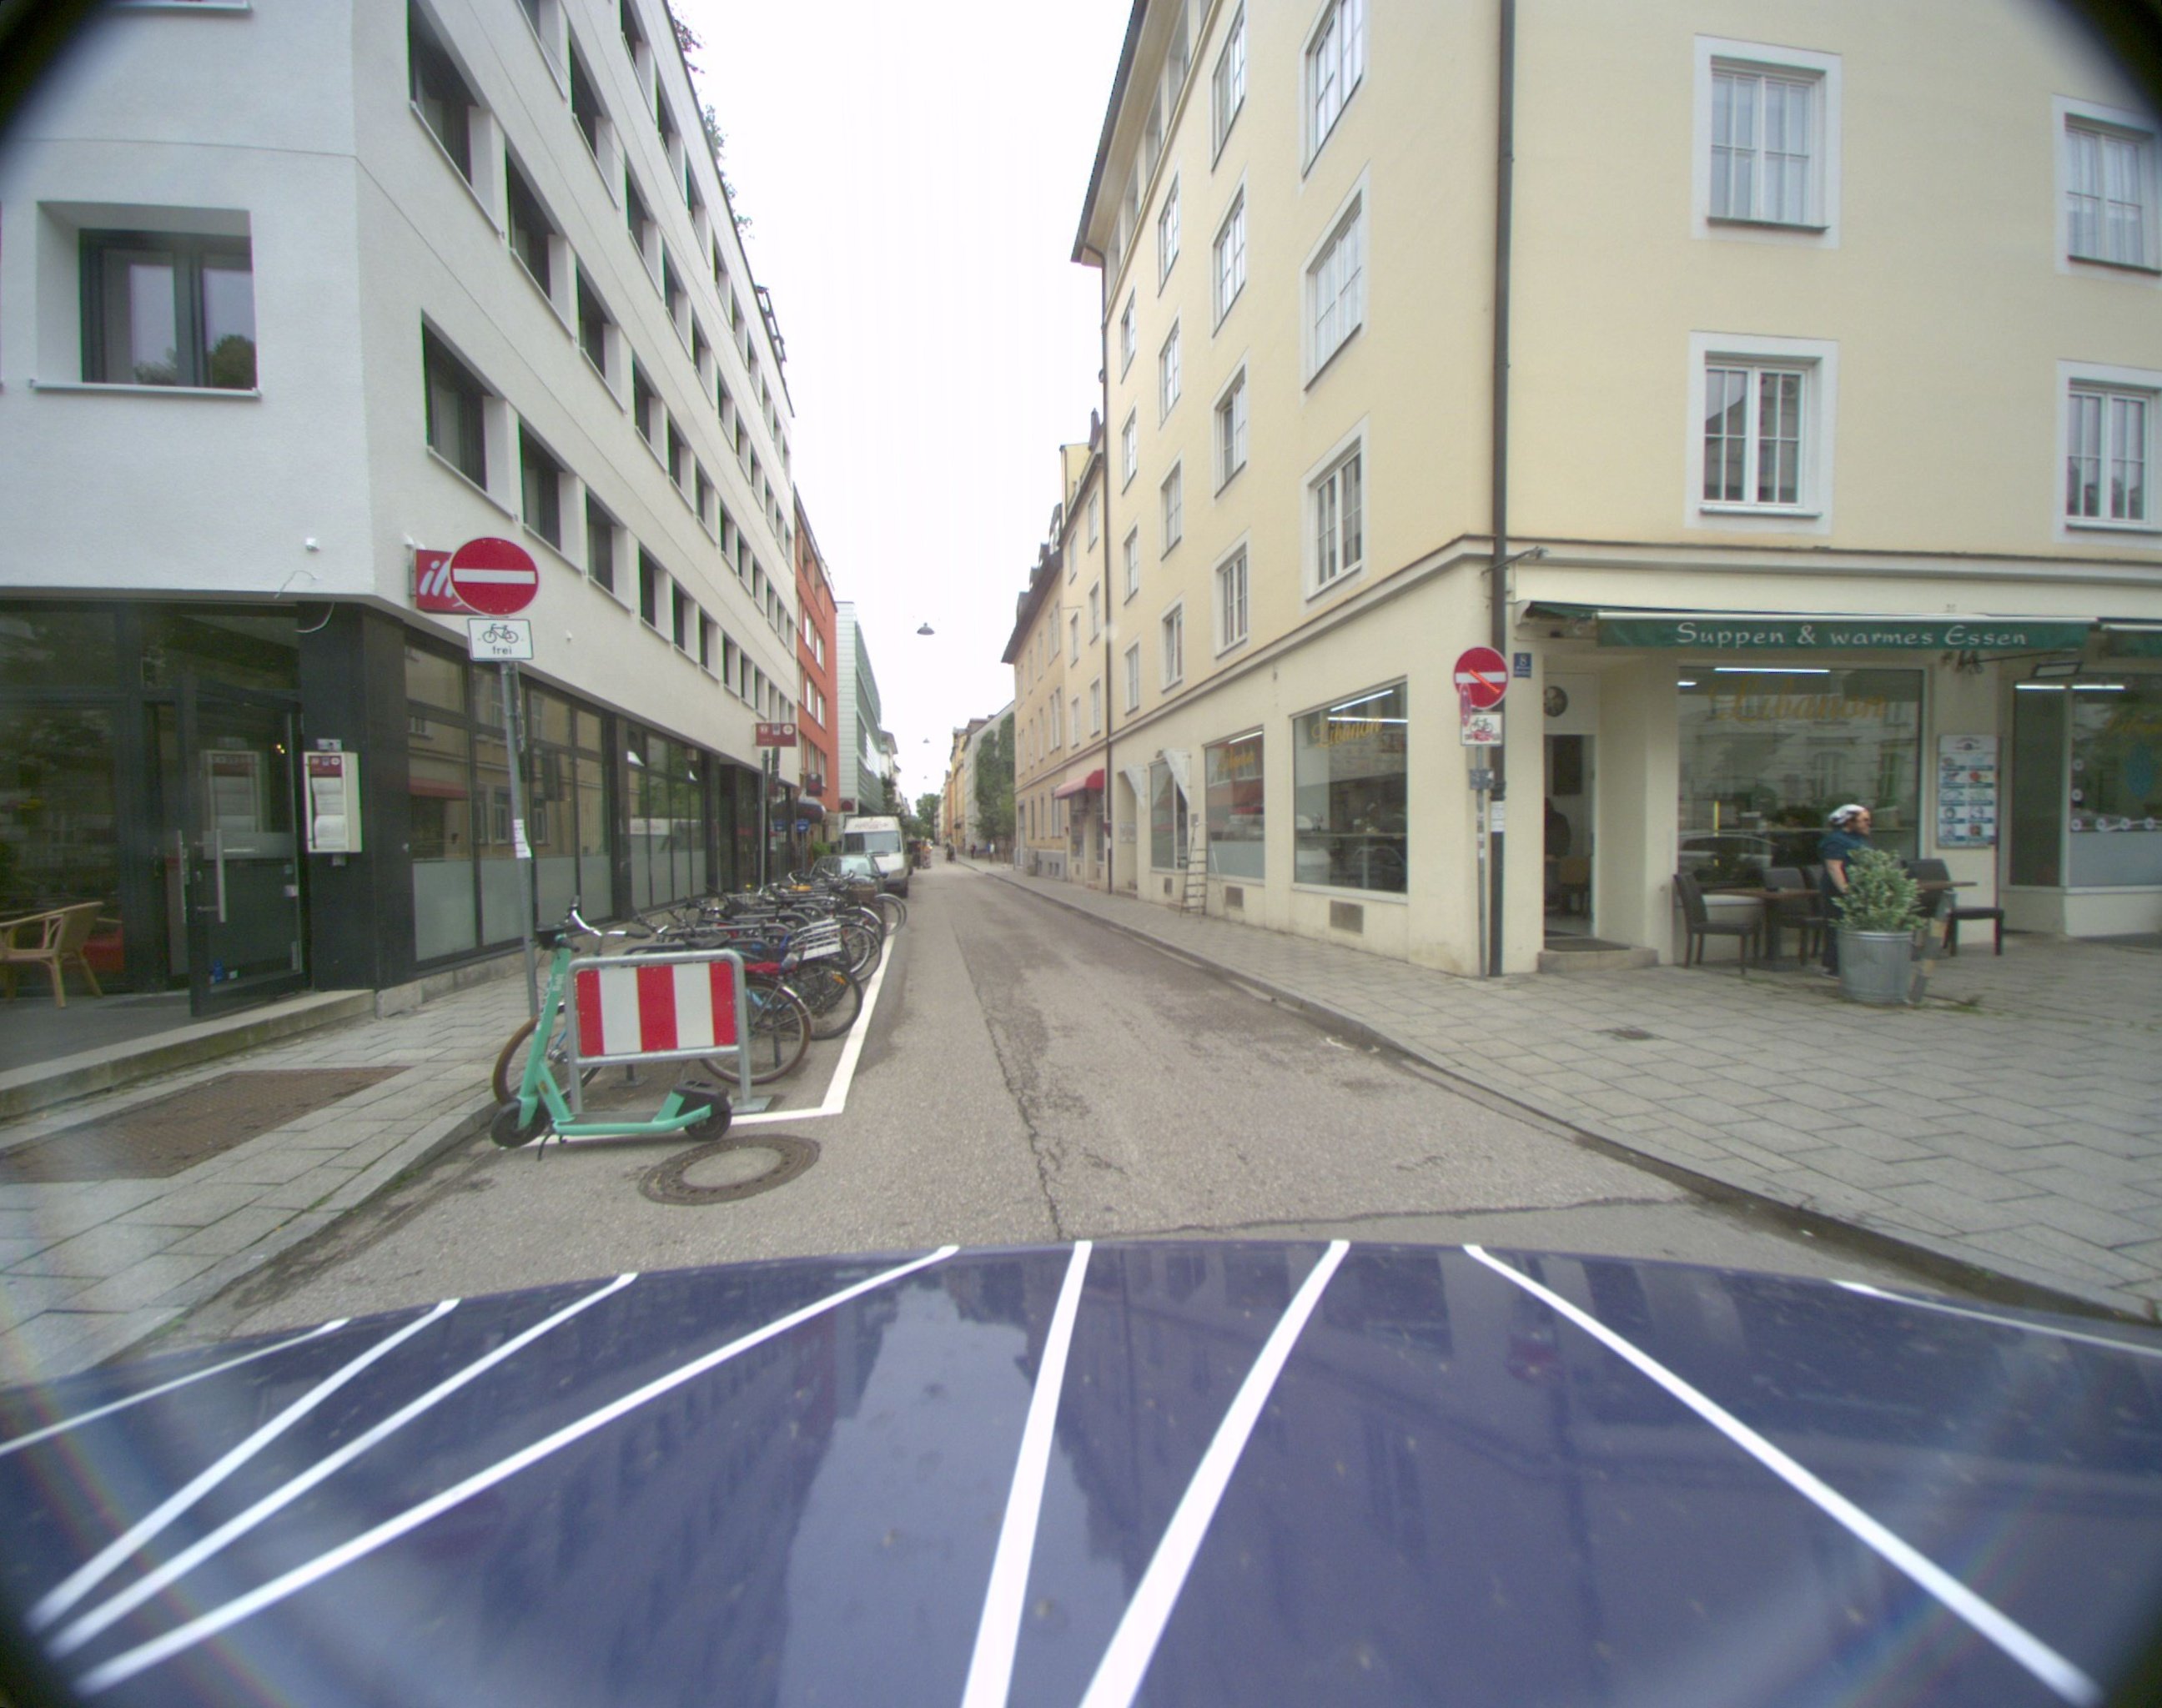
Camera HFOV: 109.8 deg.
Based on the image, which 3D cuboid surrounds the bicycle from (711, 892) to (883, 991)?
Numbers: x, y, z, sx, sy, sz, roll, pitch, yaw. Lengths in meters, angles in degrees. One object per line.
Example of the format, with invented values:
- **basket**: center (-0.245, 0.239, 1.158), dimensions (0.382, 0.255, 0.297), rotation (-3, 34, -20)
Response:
- **bicycle**: center (-3.399, 1.032, 9.251), dimensions (1.881, 1.046, 0.563), rotation (-1, 3, -15)

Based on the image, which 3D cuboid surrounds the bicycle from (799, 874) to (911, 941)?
- **bicycle**: center (-4.107, 0.961, 13.931), dimensions (1.880, 1.073, 0.488), rotation (-3, 1, -13)

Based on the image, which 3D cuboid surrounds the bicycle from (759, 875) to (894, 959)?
- **bicycle**: center (-3.908, 0.949, 11.802), dimensions (1.880, 1.150, 0.564), rotation (-3, 1, -13)

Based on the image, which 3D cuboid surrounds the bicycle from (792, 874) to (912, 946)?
- **bicycle**: center (-3.895, 0.938, 13.029), dimensions (1.880, 1.102, 0.488), rotation (-3, 1, -13)

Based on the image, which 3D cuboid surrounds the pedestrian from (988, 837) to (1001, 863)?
- **pedestrian**: center (-6.344, -0.319, 55.767), dimensions (0.862, 1.834, 0.973), rotation (-2, 2, -10)

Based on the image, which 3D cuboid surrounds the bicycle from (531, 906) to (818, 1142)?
- **bicycle**: center (-2.463, 1.008, 4.730), dimensions (1.461, 1.278, 0.445), rotation (-2, 2, -10)

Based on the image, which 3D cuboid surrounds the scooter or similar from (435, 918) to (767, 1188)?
- **scooter or similar**: center (-2.408, 0.978, 3.928), dimensions (1.357, 1.203, 0.417), rotation (-1, 2, -10)

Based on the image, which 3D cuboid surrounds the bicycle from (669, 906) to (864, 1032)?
- **bicycle**: center (-2.989, 1.084, 7.335), dimensions (1.680, 1.073, 0.335), rotation (-1, 1, -15)

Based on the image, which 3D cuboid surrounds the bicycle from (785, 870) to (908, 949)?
- **bicycle**: center (-3.822, 0.894, 12.512), dimensions (1.880, 1.197, 0.488), rotation (-1, 1, -13)

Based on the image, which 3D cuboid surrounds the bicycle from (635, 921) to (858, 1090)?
- **bicycle**: center (-2.475, 1.099, 5.758), dimensions (1.457, 1.063, 0.462), rotation (-2, 2, -19)

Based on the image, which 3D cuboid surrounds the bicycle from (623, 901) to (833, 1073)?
- **bicycle**: center (-2.799, 1.030, 6.151), dimensions (1.457, 1.201, 0.394), rotation (-2, 2, -19)

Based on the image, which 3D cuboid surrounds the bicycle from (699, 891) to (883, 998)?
- **bicycle**: center (-3.225, 0.989, 8.573), dimensions (1.881, 1.073, 0.402), rotation (-1, 1, -15)

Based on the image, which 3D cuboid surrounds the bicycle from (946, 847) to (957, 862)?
- **bicycle**: center (-11.752, 0.013, 69.112), dimensions (0.935, 1.250, 2.410), rotation (0, 2, -11)

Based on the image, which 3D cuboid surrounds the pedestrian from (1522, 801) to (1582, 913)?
- **pedestrian**: center (7.422, 0.039, 12.003), dimensions (0.669, 1.715, 0.564), rotation (1, 2, 21)

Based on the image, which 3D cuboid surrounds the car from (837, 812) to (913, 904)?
- **car**: center (-6.397, 0.056, 24.219), dimensions (1.927, 2.492, 5.989), rotation (-2, 1, -12)

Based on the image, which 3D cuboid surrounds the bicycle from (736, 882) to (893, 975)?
- **bicycle**: center (-3.442, 0.948, 9.956), dimensions (1.881, 1.089, 0.439), rotation (-1, 1, -15)

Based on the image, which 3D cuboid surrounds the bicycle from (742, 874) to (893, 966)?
- **bicycle**: center (-3.586, 0.878, 10.478), dimensions (1.900, 1.163, 0.565), rotation (-1, 1, -14)

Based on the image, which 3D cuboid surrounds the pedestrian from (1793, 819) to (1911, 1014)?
- **pedestrian**: center (6.811, 0.518, 6.724), dimensions (0.606, 1.633, 0.537), rotation (-2, 2, -23)

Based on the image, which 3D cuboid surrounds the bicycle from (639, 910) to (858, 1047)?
- **bicycle**: center (-2.964, 1.094, 6.919), dimensions (1.746, 1.073, 0.451), rotation (-1, 1, -15)

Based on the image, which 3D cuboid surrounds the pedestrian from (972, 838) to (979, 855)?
- **pedestrian**: center (-10.344, -0.737, 74.255), dimensions (0.554, 1.650, 0.996), rotation (-1, 2, -12)

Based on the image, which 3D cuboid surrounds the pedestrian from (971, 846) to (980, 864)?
- **pedestrian**: center (-10.789, 0.091, 77.651), dimensions (0.778, 1.826, 0.990), rotation (-1, 2, -12)

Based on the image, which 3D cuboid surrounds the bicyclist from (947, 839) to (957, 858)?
- **bicyclist**: center (-11.676, -0.509, 68.709), dimensions (0.930, 1.711, 1.098), rotation (0, 1, -11)

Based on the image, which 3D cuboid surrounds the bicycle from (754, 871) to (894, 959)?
- **bicycle**: center (-3.699, 0.862, 11.095), dimensions (1.880, 1.197, 0.579), rotation (0, 1, -13)

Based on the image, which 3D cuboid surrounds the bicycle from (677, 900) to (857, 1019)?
- **bicycle**: center (-3.133, 1.037, 7.697), dimensions (1.619, 1.073, 0.377), rotation (-1, 1, -15)

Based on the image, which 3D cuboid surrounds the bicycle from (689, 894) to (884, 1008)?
- **bicycle**: center (-3.103, 1.007, 8.151), dimensions (1.881, 1.073, 0.408), rotation (-1, 1, -15)

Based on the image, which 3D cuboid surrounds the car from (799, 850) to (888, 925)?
- **car**: center (-5.309, 0.682, 17.360), dimensions (1.586, 1.456, 3.547), rotation (-1, 1, -12)
